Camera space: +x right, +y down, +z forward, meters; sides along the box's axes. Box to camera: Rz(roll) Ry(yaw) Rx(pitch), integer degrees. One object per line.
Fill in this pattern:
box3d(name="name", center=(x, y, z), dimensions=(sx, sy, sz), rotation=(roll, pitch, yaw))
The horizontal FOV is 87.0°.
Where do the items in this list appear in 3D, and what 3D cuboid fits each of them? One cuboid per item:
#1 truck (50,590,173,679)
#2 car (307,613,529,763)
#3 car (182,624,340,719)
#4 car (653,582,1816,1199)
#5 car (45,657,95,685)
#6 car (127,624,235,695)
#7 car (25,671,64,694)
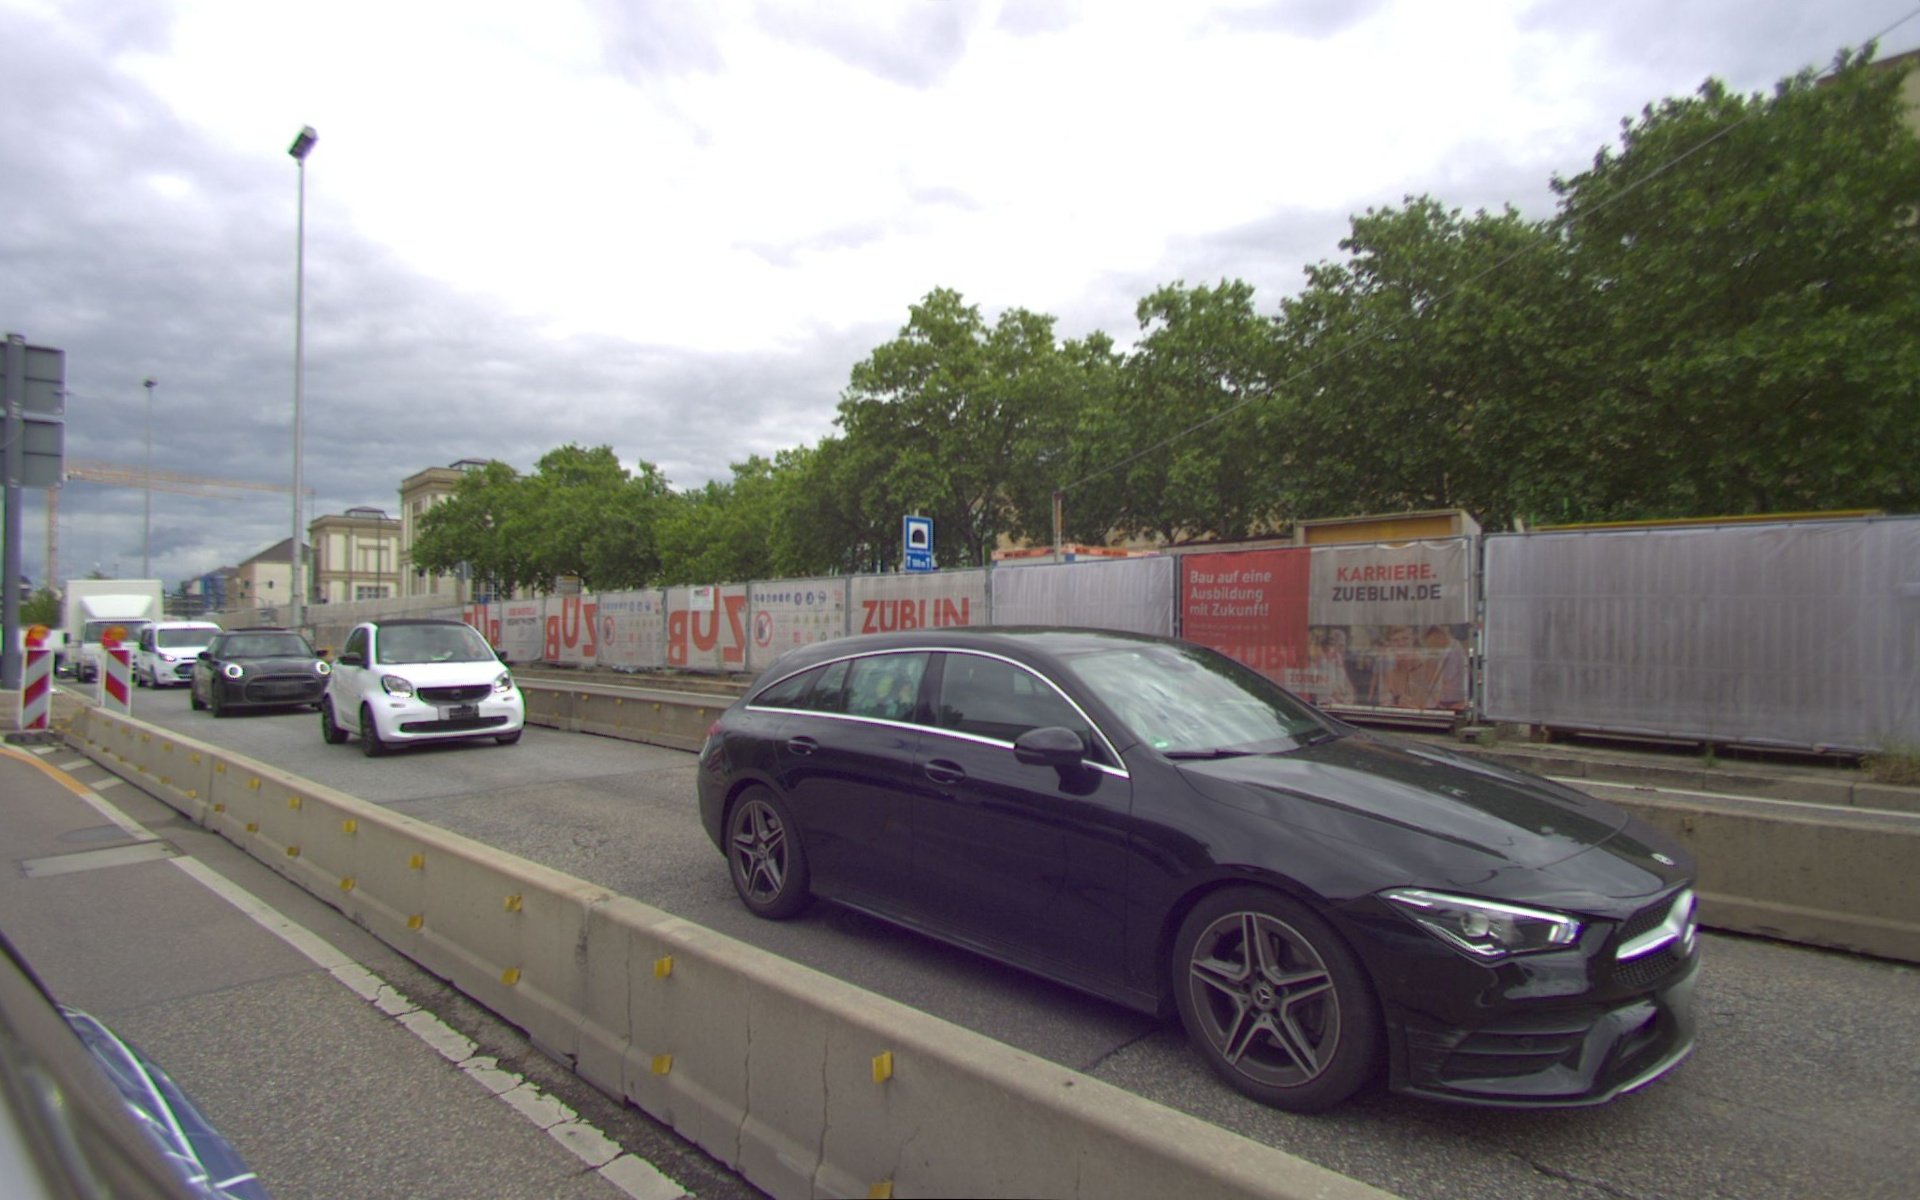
box3d(name="truck", center=(-29.865, 1.169, 35.489), dimensions=(2.935, 2.795, 7.262), rotation=(1, -2, -43))
box3d(name="car", center=(-6.702, 0.970, 12.401), dimensions=(1.611, 1.566, 3.004), rotation=(-1, -1, -45))
box3d(name="car", center=(-12.382, 1.167, 17.830), dimensions=(1.628, 1.450, 3.937), rotation=(-1, -1, -45))
box3d(name="car", center=(0.628, 0.712, 4.400), dimensions=(1.833, 1.426, 4.568), rotation=(-1, 0, -45))
box3d(name="car", center=(-56.709, 4.483, 64.487), dimensions=(3.998, 1.519, 1.848), rotation=(-1, 1, 41))
box3d(name="car", center=(-21.188, 1.541, 27.464), dimensions=(1.816, 1.774, 4.483), rotation=(1, -2, -44))
box3d(name="car", center=(-72.563, 6.518, 80.205), dimensions=(3.998, 1.519, 1.848), rotation=(-1, 1, 41))
